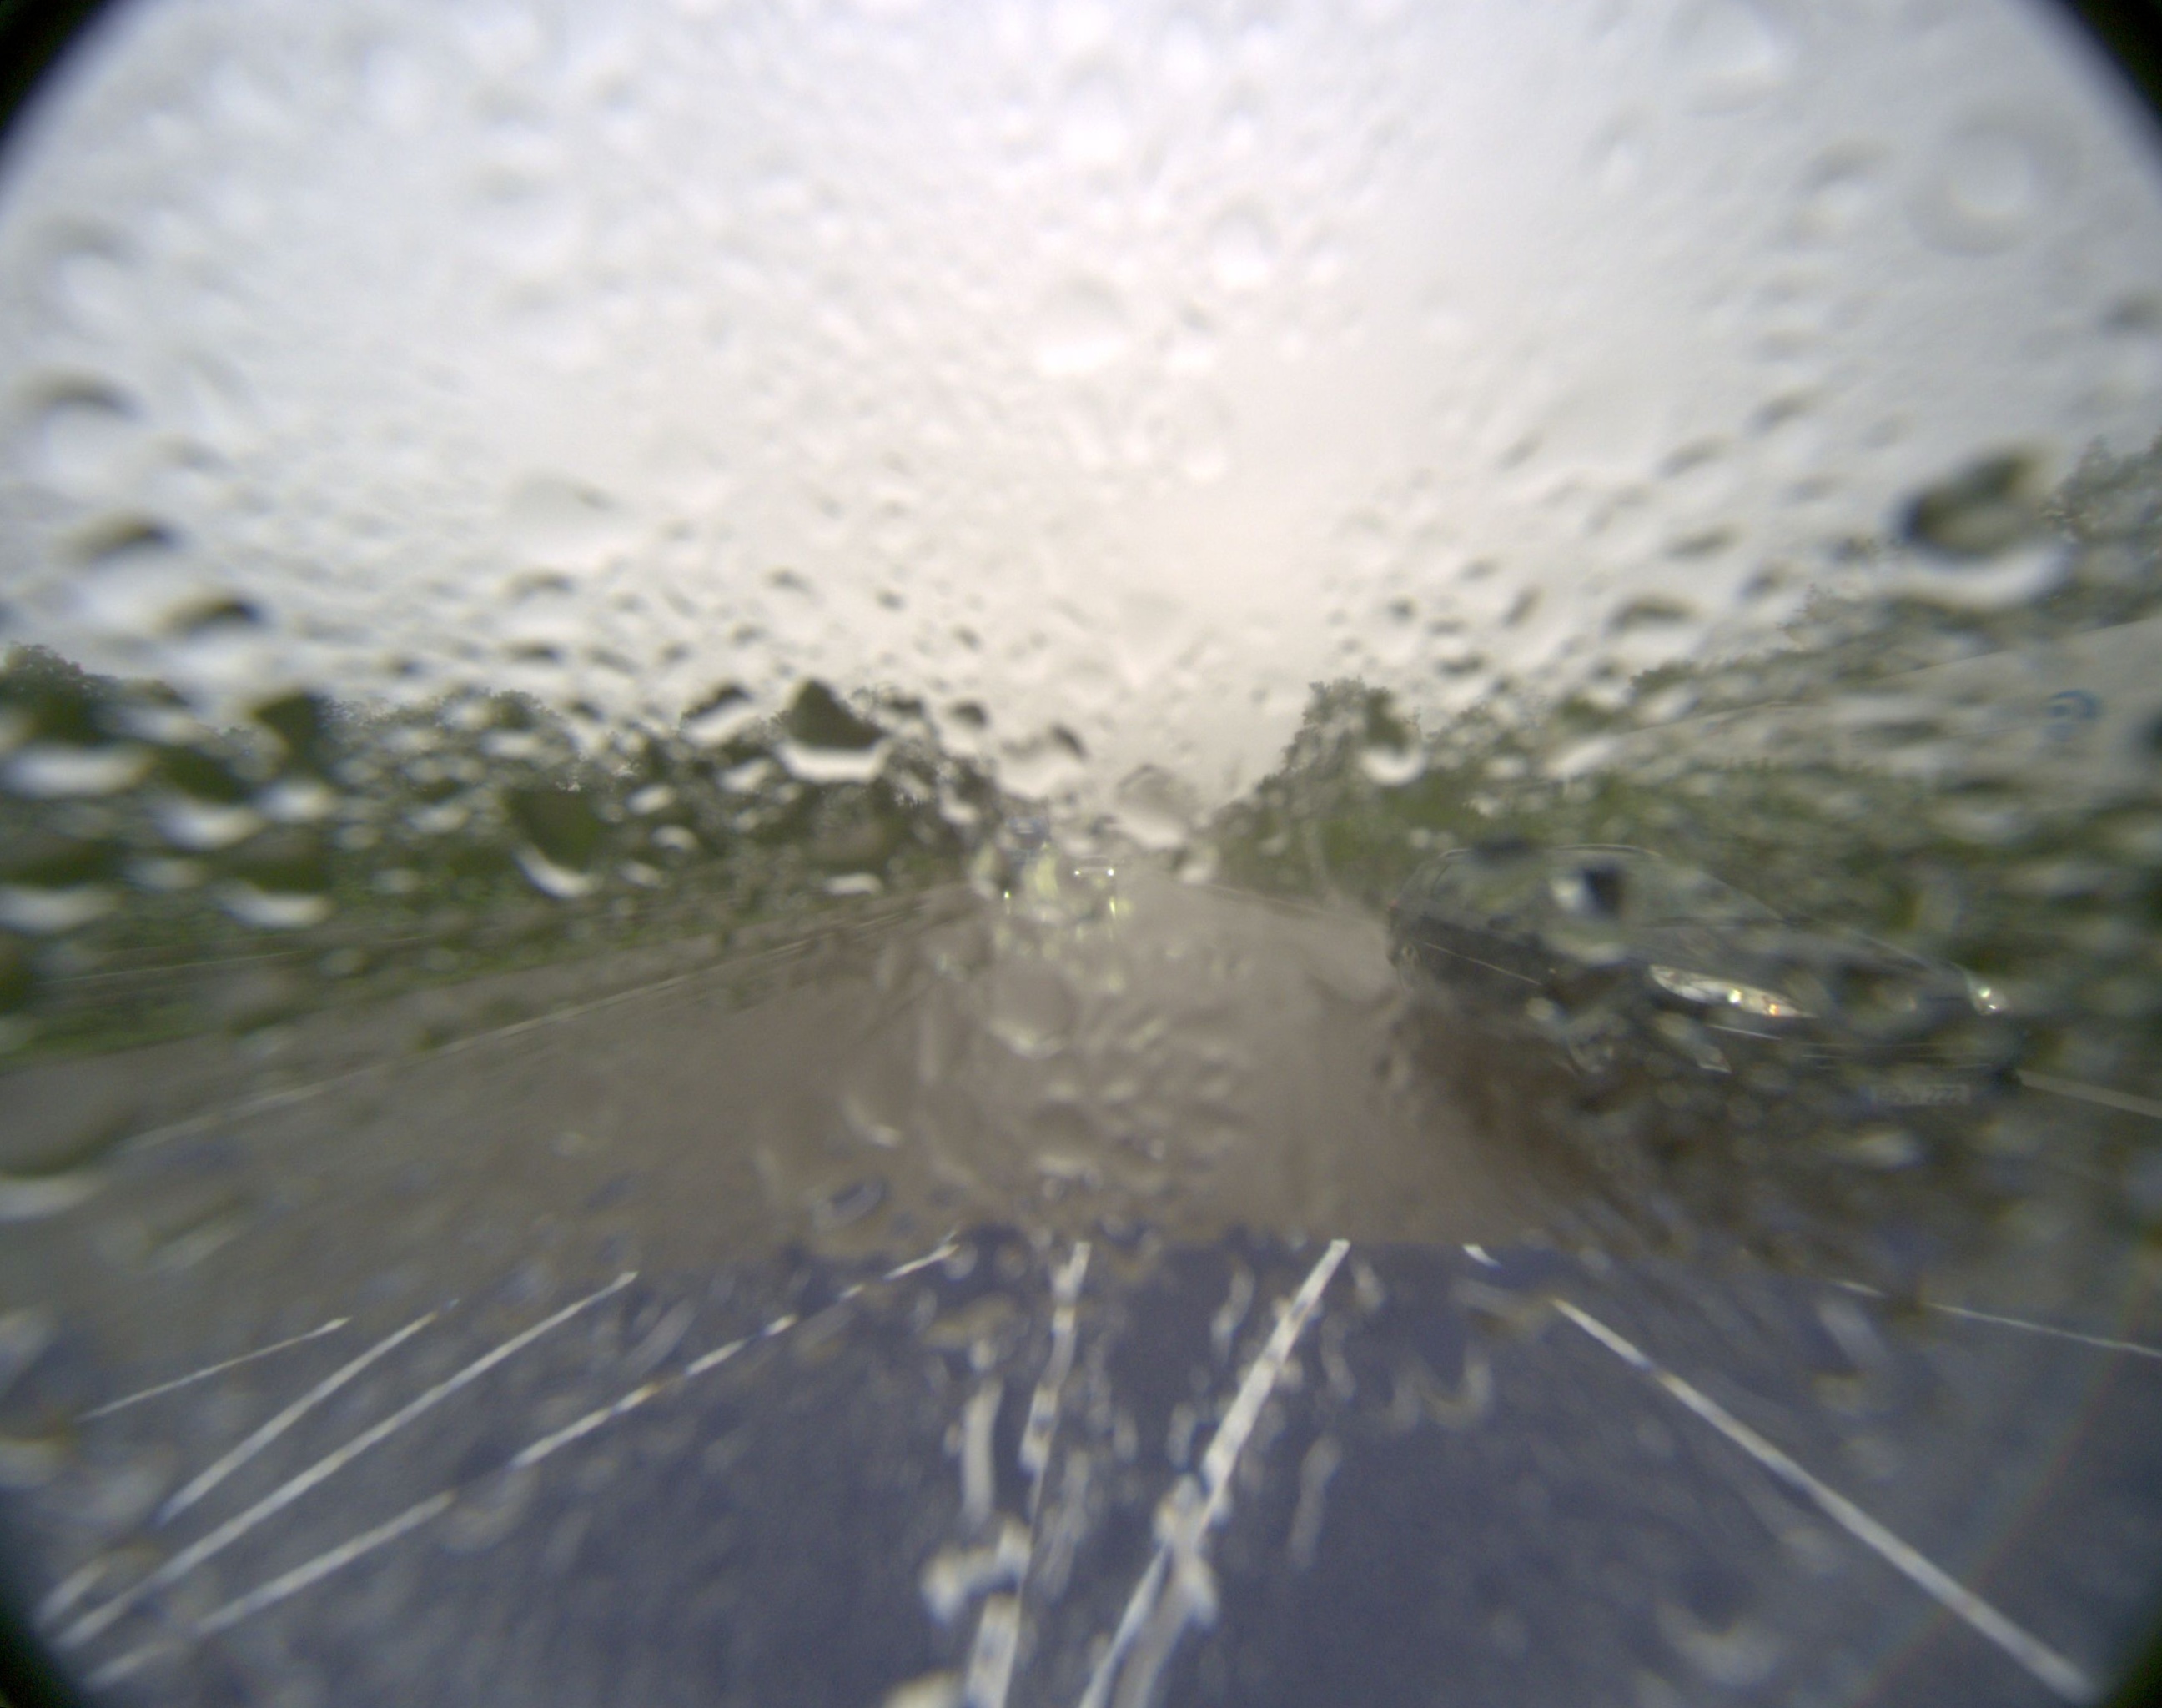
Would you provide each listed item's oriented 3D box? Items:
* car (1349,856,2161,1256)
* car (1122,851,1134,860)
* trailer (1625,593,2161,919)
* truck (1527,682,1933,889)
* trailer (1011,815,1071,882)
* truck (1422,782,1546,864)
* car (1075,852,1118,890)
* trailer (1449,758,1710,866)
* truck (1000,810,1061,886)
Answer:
[{"bbox_3d":[3.923,0.813,5.604,2.059,1.477,5.157,-2,0,0],"label":"car"},{"bbox_3d":[8.010,0.238,129.297,1.900,1.533,4.090,-2,0,2],"label":"car"},{"bbox_3d":[17.495,-1.493,14.264,3.879,4.668,15.025,-2,0,1],"label":"trailer"},{"bbox_3d":[17.630,-1.565,22.121,3.845,4.612,9.408,-2,0,1],"label":"truck"},{"bbox_3d":[-2.491,-0.374,53.126,2.750,3.941,14.130,-2,0,2],"label":"trailer"},{"bbox_3d":[21.582,-1.582,41.197,3.158,3.969,6.624,-2,1,1],"label":"truck"},{"bbox_3d":[0.770,0.703,34.123,1.751,1.545,4.091,-2,0,3],"label":"car"},{"bbox_3d":[21.537,-1.589,34.558,3.206,3.855,13.255,-2,0,0],"label":"trailer"},{"bbox_3d":[-2.865,-0.344,44.740,2.755,4.055,6.483,-2,1,3],"label":"truck"}]
